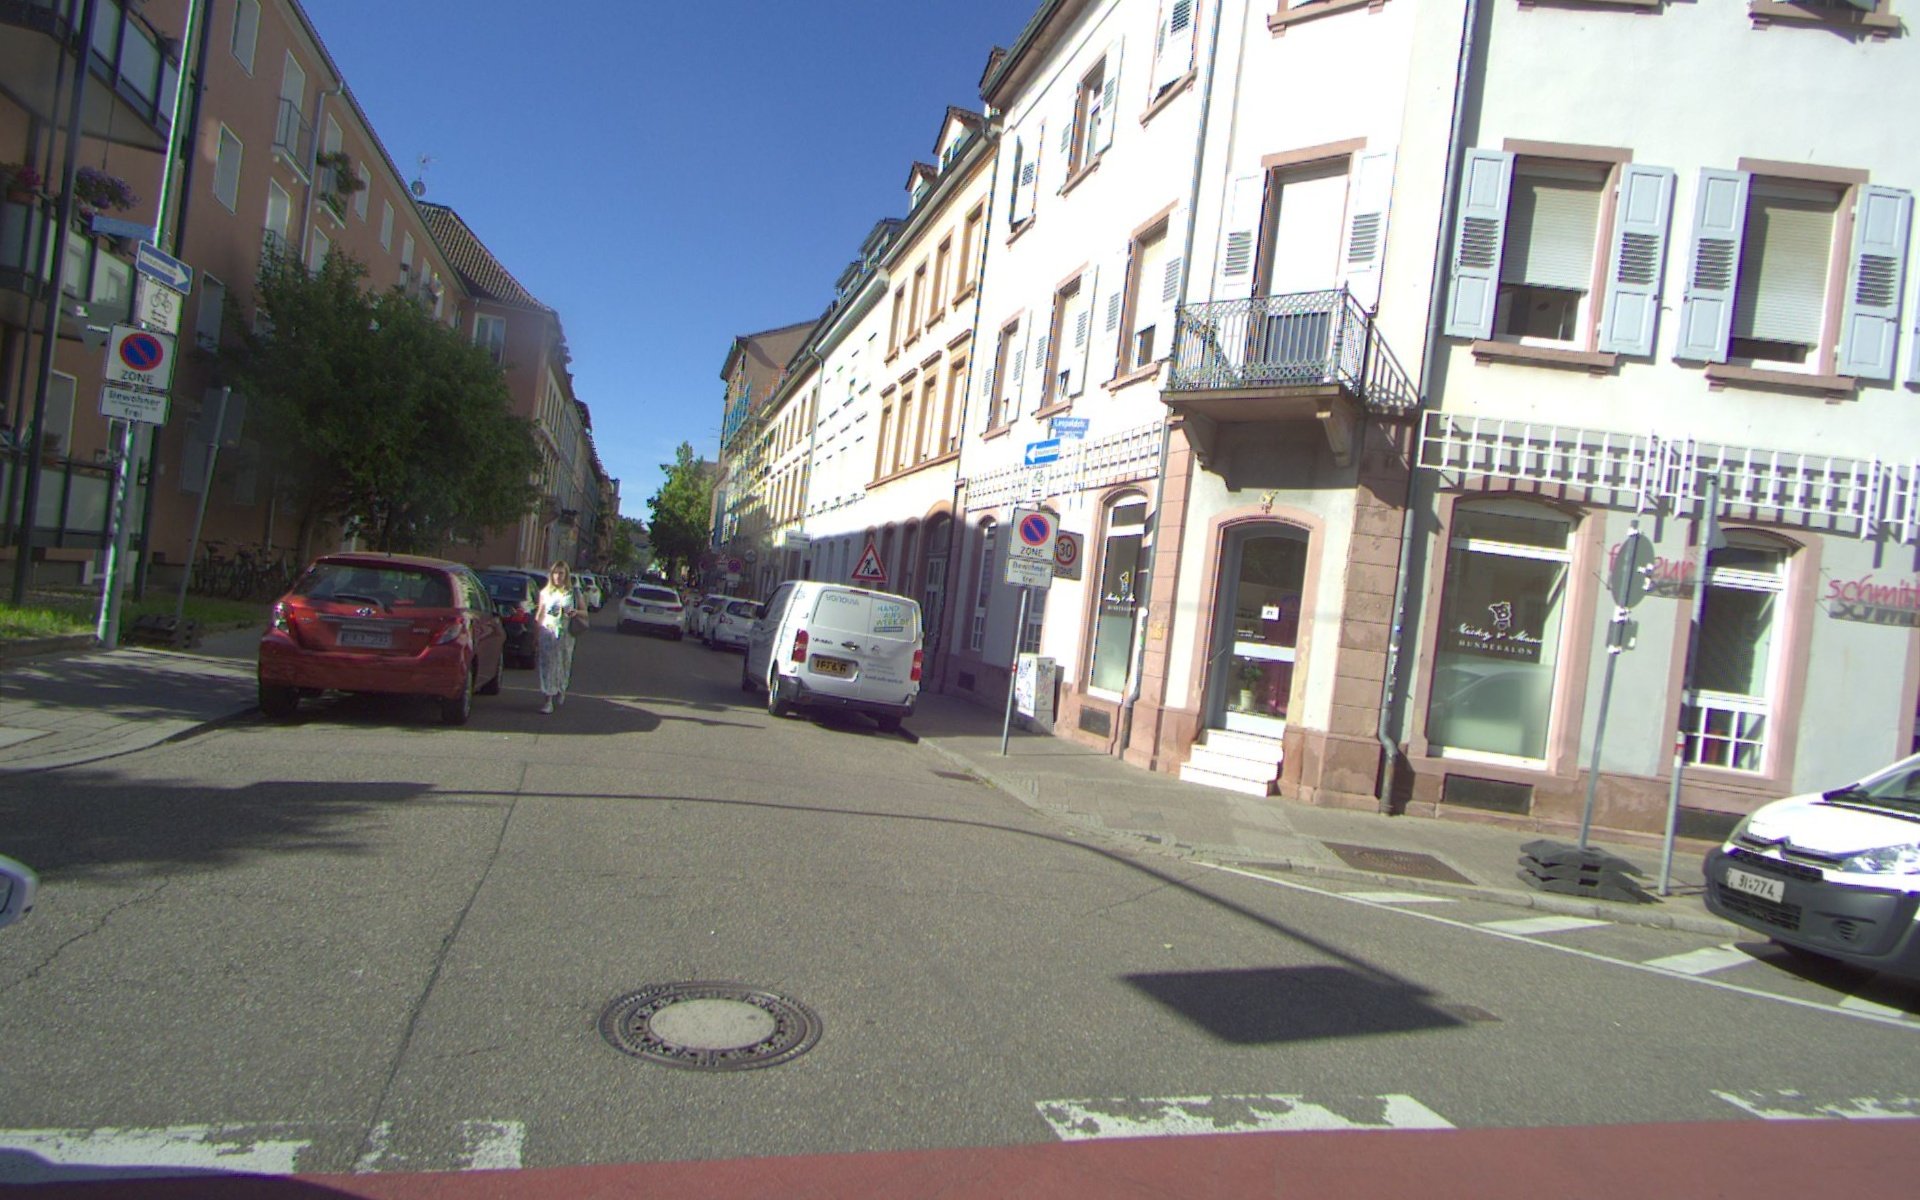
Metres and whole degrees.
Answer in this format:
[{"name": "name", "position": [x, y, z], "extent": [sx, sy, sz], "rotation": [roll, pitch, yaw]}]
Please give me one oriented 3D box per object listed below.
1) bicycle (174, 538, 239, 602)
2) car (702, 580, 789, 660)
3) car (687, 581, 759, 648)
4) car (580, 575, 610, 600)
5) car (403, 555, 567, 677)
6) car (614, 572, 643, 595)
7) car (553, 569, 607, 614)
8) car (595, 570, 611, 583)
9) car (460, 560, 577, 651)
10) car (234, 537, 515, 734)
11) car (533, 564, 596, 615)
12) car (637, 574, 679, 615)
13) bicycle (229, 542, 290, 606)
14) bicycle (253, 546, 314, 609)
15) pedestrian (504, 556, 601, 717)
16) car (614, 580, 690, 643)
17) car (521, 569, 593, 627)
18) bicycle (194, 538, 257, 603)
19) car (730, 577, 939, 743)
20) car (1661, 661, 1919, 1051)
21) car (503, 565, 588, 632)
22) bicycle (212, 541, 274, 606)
[{"name": "bicycle", "position": [-13.938, -0.555, 18.596], "extent": [1.194, 1.048, 0.291], "rotation": [7, 0, 22]}, {"name": "car", "position": [-6.123, 0.508, 28.343], "extent": [1.873, 1.881, 3.981], "rotation": [8, -1, -17]}, {"name": "car", "position": [-7.919, 0.424, 33.321], "extent": [1.873, 1.881, 3.981], "rotation": [8, -1, -17]}, {"name": "car", "position": [-25.585, -0.894, 70.543], "extent": [1.634, 1.518, 3.750], "rotation": [8, -1, -17]}, {"name": "car", "position": [-7.402, 0.210, 16.063], "extent": [1.634, 1.518, 4.065], "rotation": [8, -1, -17]}, {"name": "car", "position": [-23.818, -1.188, 72.452], "extent": [1.740, 1.426, 4.313], "rotation": [8, -1, -17]}, {"name": "car", "position": [-15.448, -0.358, 41.058], "extent": [1.634, 1.518, 3.750], "rotation": [8, -1, -17]}, {"name": "car", "position": [-47.137, -3.060, 132.874], "extent": [1.634, 1.518, 3.750], "rotation": [8, -1, -17]}, {"name": "car", "position": [-9.030, 0.089, 20.844], "extent": [1.634, 1.518, 3.750], "rotation": [8, -1, -17]}, {"name": "car", "position": [-5.752, 0.294, 10.382], "extent": [1.666, 1.518, 3.791], "rotation": [7, -1, -19]}, {"name": "car", "position": [-14.124, -0.373, 36.073], "extent": [1.634, 1.518, 3.750], "rotation": [8, -1, -17]}, {"name": "car", "position": [-16.203, -0.288, 53.915], "extent": [1.873, 1.881, 3.981], "rotation": [8, -1, -17]}, {"name": "bicycle", "position": [-13.568, -0.506, 19.472], "extent": [1.194, 1.084, 0.253], "rotation": [7, 0, 22]}, {"name": "bicycle", "position": [-13.227, -0.437, 19.659], "extent": [1.197, 1.084, 0.253], "rotation": [7, 0, 22]}, {"name": "pedestrian", "position": [-4.458, 0.385, 10.975], "extent": [0.727, 1.634, 0.810], "rotation": [7, 0, -29]}, {"name": "car", "position": [-8.940, 0.320, 29.230], "extent": [1.810, 1.474, 3.950], "rotation": [8, -2, -17]}, {"name": "car", "position": [-12.573, -0.090, 31.583], "extent": [1.634, 1.518, 3.750], "rotation": [8, -1, -17]}, {"name": "bicycle", "position": [-13.796, -0.555, 18.898], "extent": [1.194, 1.085, 0.266], "rotation": [7, 0, 22]}, {"name": "car", "position": [-2.123, 0.753, 15.351], "extent": [1.876, 1.880, 4.992], "rotation": [10, -2, -20]}, {"name": "car", "position": [7.559, 1.710, 6.100], "extent": [4.931, 1.969, 2.052], "rotation": [8, -1, 3]}, {"name": "car", "position": [-11.268, -0.060, 27.539], "extent": [1.634, 1.518, 3.750], "rotation": [8, -1, -17]}, {"name": "bicycle", "position": [-13.684, -0.509, 19.198], "extent": [1.194, 1.084, 0.253], "rotation": [7, 0, 22]}]
